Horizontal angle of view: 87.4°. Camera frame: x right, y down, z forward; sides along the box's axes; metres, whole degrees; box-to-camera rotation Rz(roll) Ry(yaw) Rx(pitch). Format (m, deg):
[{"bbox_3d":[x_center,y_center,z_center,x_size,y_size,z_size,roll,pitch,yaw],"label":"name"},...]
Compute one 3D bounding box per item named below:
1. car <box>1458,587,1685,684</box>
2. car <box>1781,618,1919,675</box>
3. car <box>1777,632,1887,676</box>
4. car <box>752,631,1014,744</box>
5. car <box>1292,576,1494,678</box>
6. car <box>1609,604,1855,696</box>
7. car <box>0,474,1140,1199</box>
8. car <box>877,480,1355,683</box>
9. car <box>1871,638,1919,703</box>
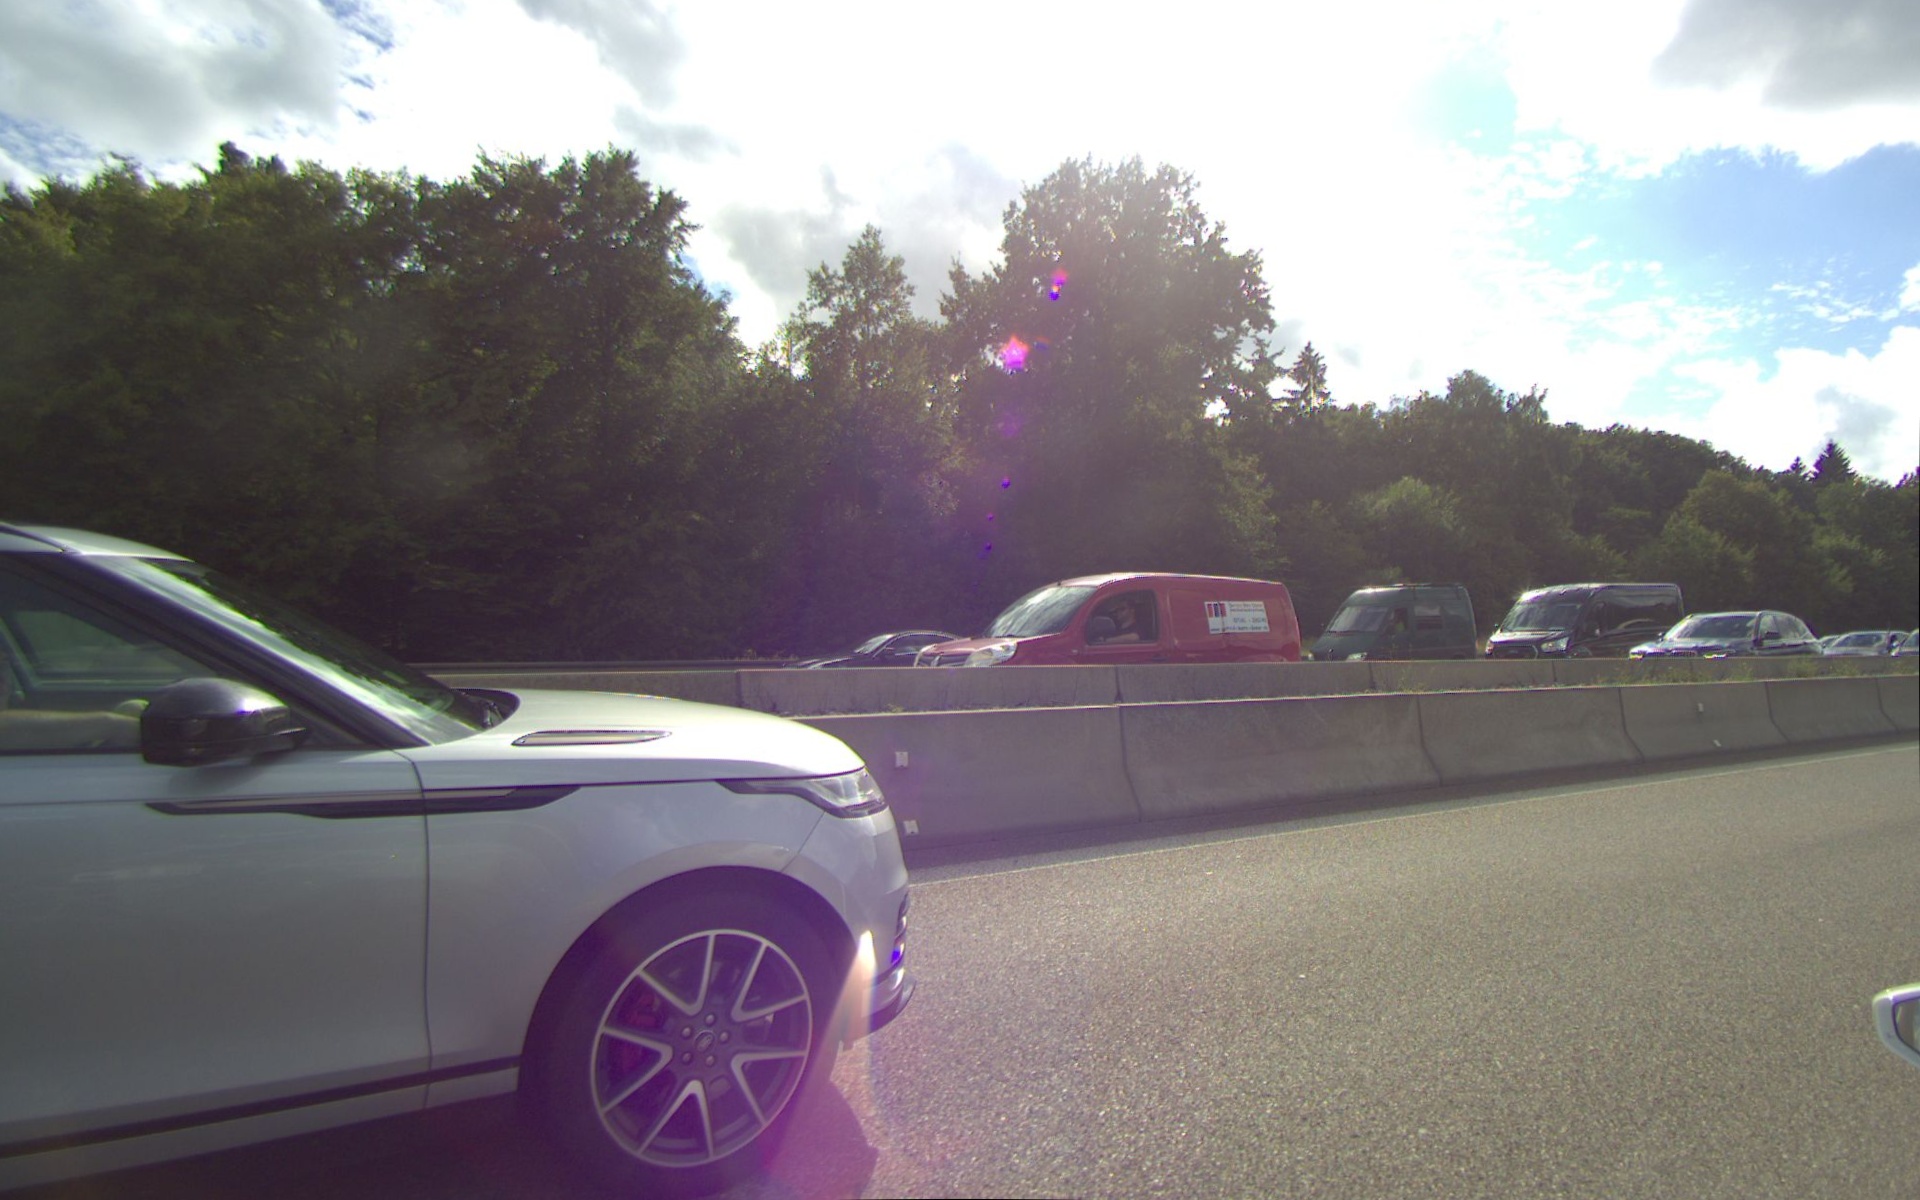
[{"bbox_3d":[14.499,0.814,23.719,5.775,2.059,1.984,1,0,-29],"label":"car"},{"bbox_3d":[27.736,1.414,31.238,4.304,1.593,1.985,1,0,-29],"label":"car"},{"bbox_3d":[35.171,2.140,40.506,4.304,1.593,1.985,1,0,-29],"label":"car"},{"bbox_3d":[-1.396,1.525,18.537,4.405,1.786,1.985,2,0,-29],"label":"car"},{"bbox_3d":[11.226,0.680,25.947,5.265,2.405,1.985,1,0,-29],"label":"car"},{"bbox_3d":[15.255,0.934,19.783,5.144,1.593,1.985,1,0,-29],"label":"car"},{"bbox_3d":[-2.098,0.590,2.683,5.046,1.628,1.891,2,-1,-30],"label":"car"},{"bbox_3d":[1.849,-0.107,11.023,5.235,1.786,1.866,2,0,-32],"label":"car"},{"bbox_3d":[25.755,1.830,26.155,3.468,1.593,1.985,1,0,-29],"label":"car"}]
